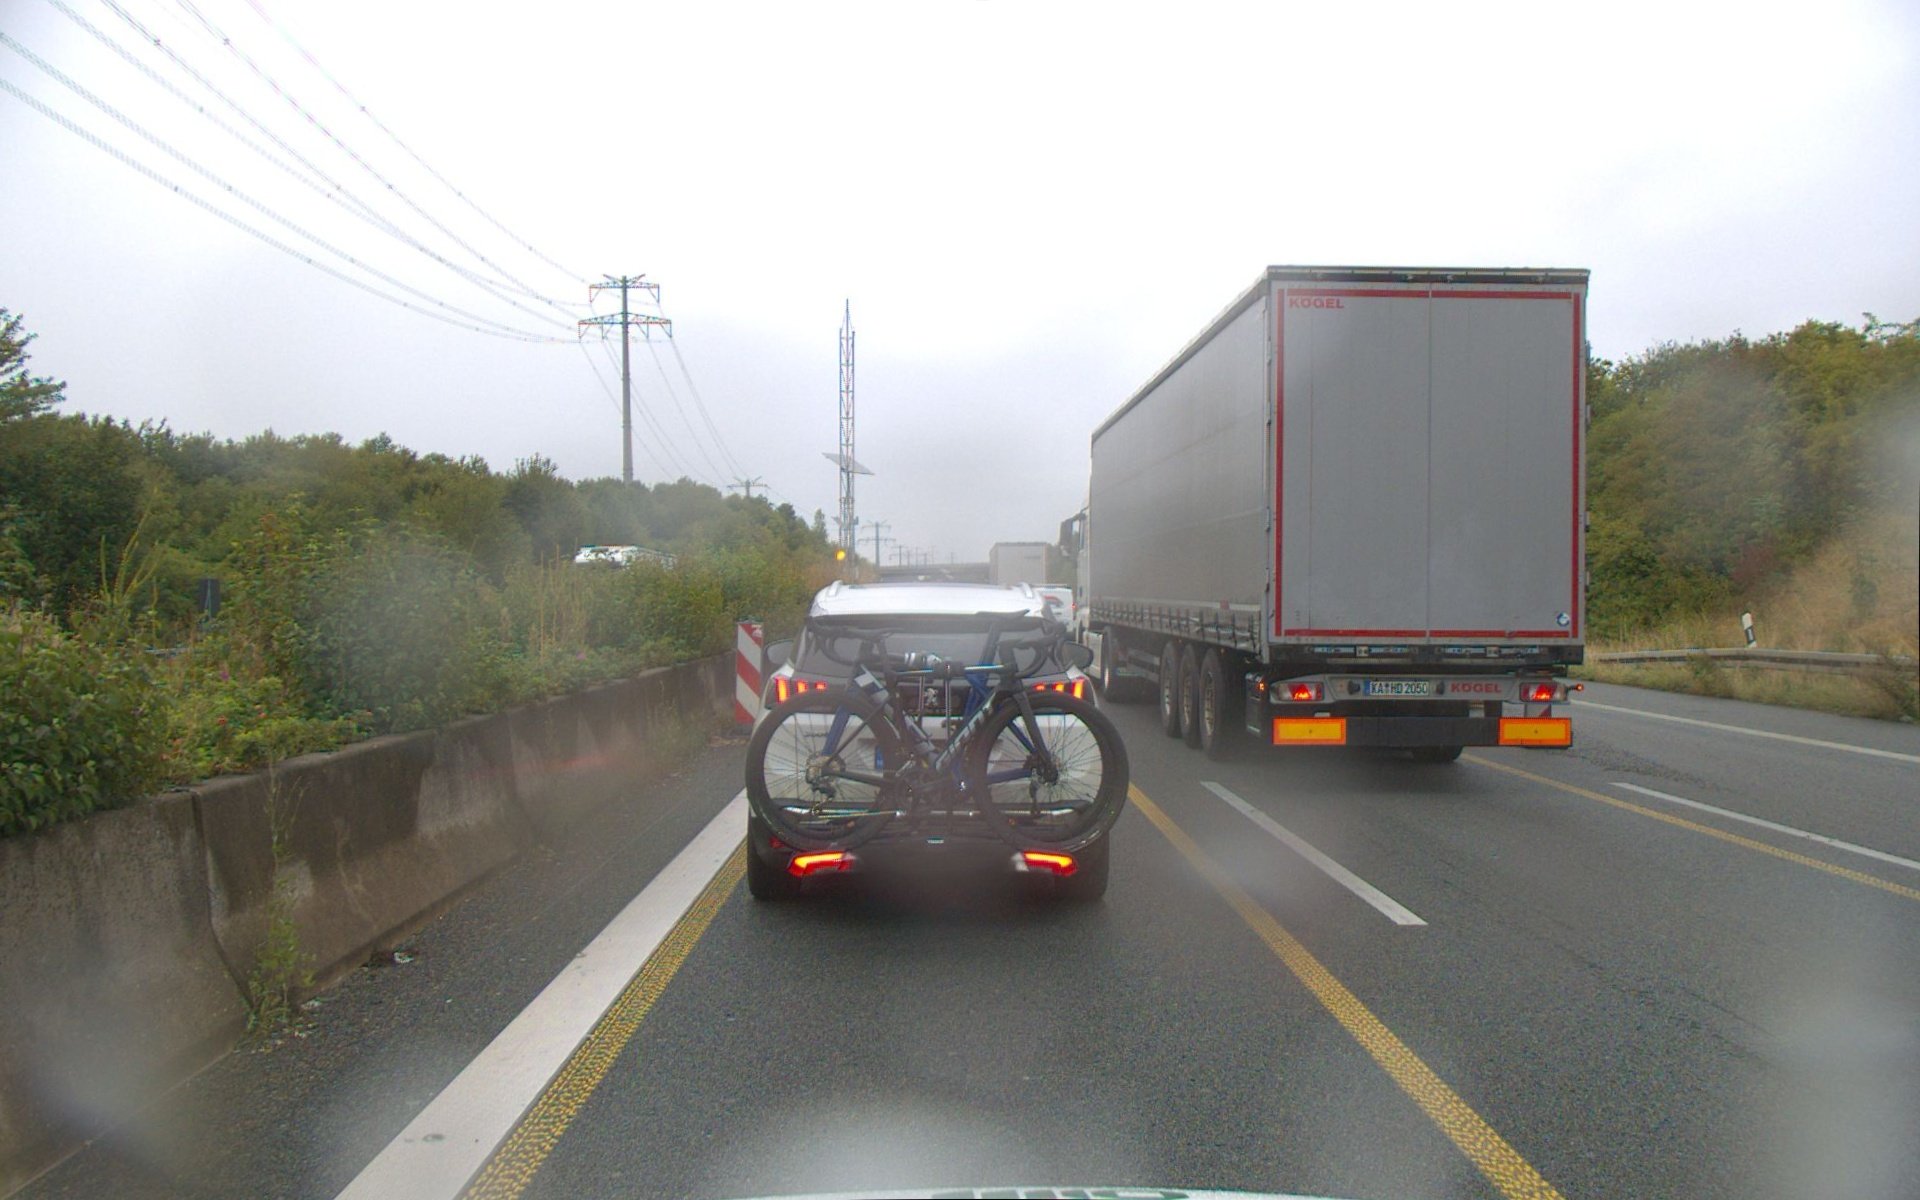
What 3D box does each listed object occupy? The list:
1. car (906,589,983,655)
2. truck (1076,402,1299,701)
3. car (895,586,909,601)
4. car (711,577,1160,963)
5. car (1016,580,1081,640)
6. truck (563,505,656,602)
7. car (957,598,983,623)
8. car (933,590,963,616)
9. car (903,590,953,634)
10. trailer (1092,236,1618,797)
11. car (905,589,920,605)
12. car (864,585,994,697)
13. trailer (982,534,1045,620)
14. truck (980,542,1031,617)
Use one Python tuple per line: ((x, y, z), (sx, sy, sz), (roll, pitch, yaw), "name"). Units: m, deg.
((-0.392, 0.517, 40.945), (1.812, 1.557, 3.999), (0, 0, -1), "car")
((3.421, -0.690, 26.208), (2.651, 4.211, 5.689), (0, 0, -1), "truck")
((-8.280, -0.927, 235.193), (1.892, 1.944, 4.000), (0, 1, -1), "car")
((-0.134, 0.682, 9.082), (1.812, 1.557, 4.768), (0, 0, -1), "car")
((2.831, 0.309, 53.957), (1.792, 1.871, 4.654), (0, 0, -1), "car")
((-16.044, -2.056, 76.226), (2.730, 4.093, 7.231), (-3, 0, -2), "truck")
((0.815, 0.855, 137.223), (2.067, 2.008, 4.000), (0, 1, -1), "car")
((-0.764, 0.177, 103.602), (1.812, 1.557, 3.999), (0, 0, -1), "car")
((-1.181, 0.427, 61.637), (1.812, 1.557, 3.999), (0, 0, -1), "car")
((3.536, -0.648, 19.346), (2.651, 4.218, 13.729), (0, 0, -1), "trailer")
((-6.218, -0.352, 217.409), (1.892, 2.008, 4.000), (0, 1, -1), "car")
((-0.464, 0.570, 25.113), (1.812, 1.557, 3.999), (0, 0, -1), "car")
((2.709, -1.141, 87.479), (2.638, 4.148, 13.630), (0, 0, -1), "trailer")
((2.563, -1.151, 94.283), (2.606, 4.148, 6.538), (0, 0, -1), "truck")
